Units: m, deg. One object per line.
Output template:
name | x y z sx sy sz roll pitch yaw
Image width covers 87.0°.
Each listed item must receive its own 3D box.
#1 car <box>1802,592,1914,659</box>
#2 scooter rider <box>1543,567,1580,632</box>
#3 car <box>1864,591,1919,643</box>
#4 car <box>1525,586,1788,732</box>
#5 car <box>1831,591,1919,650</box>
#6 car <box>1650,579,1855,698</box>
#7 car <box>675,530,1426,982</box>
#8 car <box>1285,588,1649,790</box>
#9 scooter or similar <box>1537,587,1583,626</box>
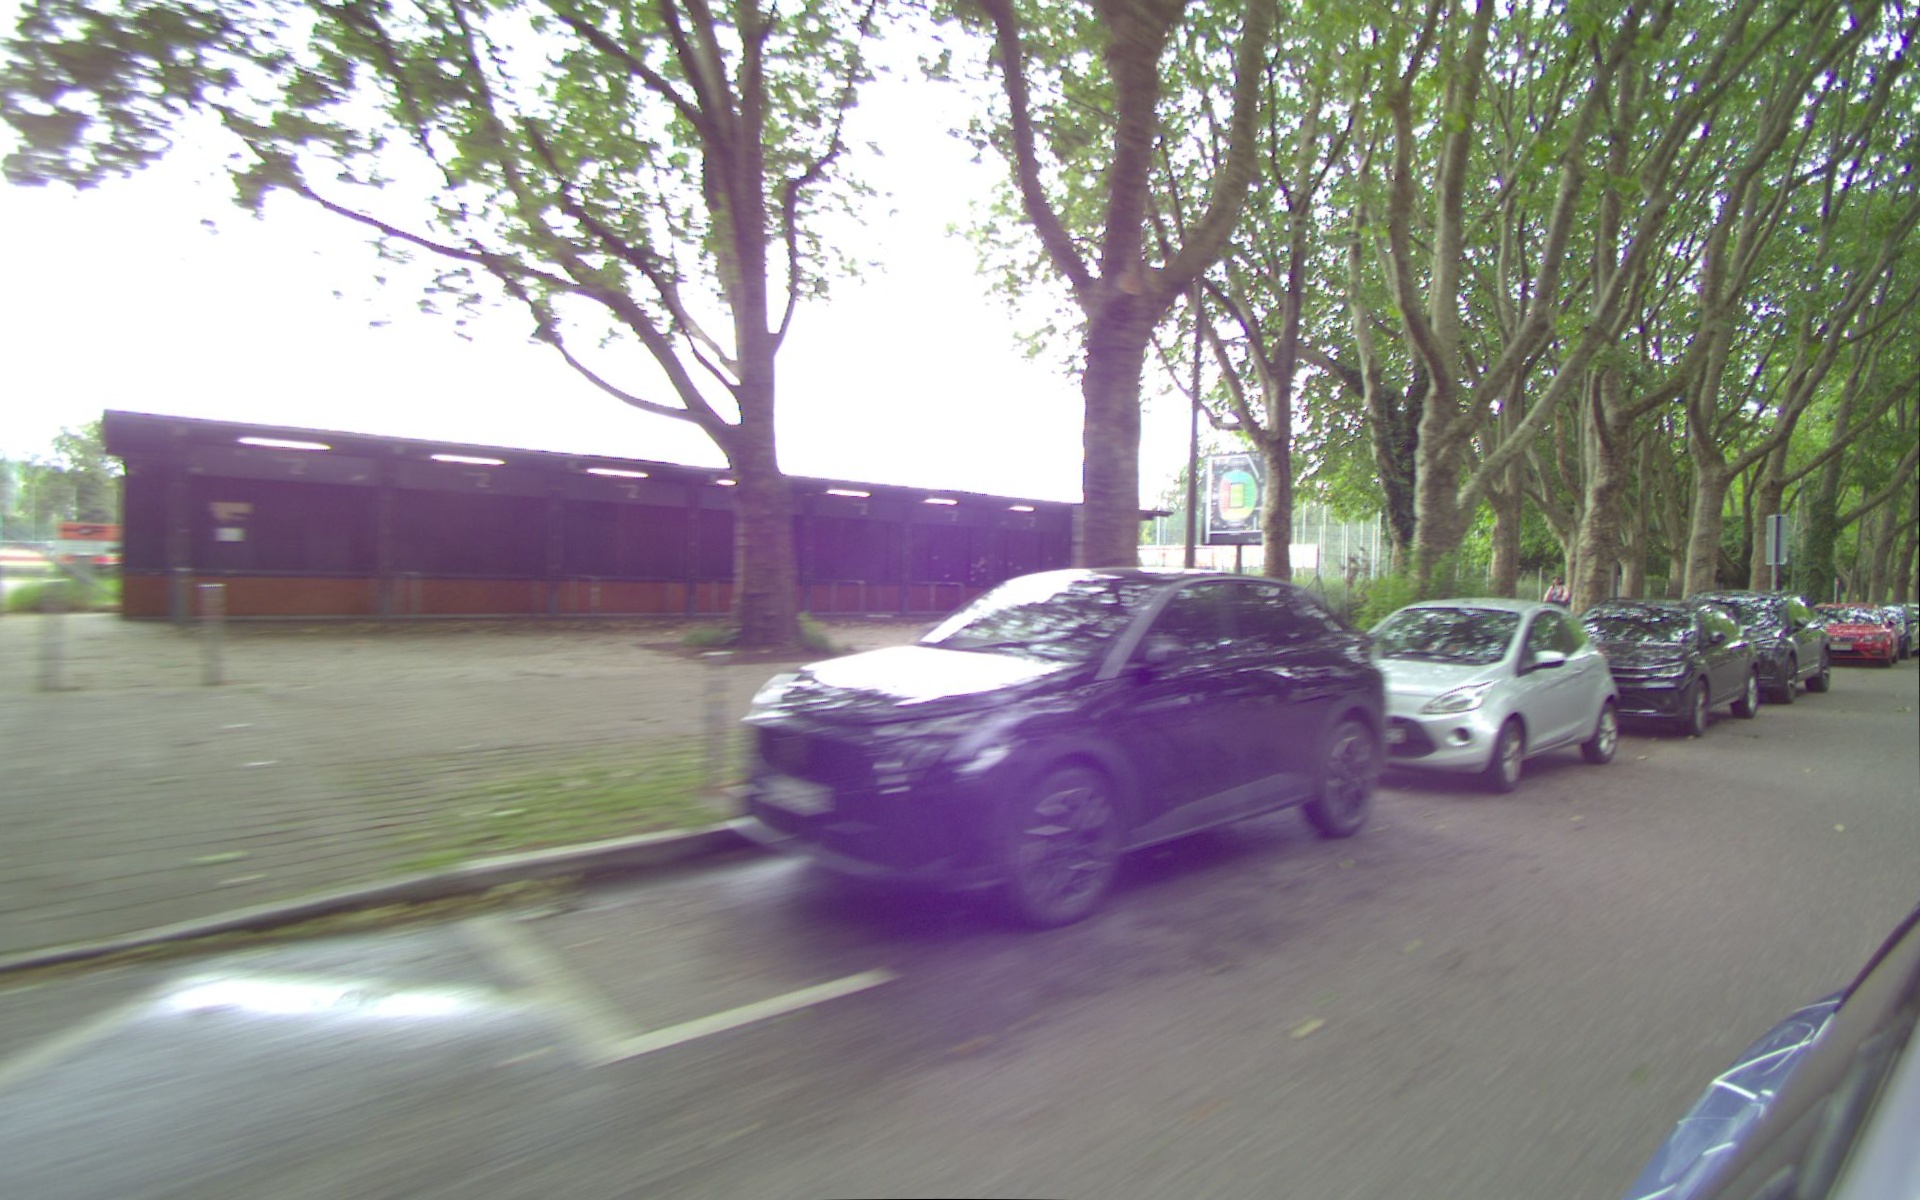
car | 21.504 0.555 24.167 4.553 1.457 1.717 0 0 -45
scooter rider | 17.525 -0.018 29.491 0.577 1.821 0.678 1 3 -40
car | 28.907 0.502 30.668 4.050 1.456 1.738 0 2 -41
car | 8.774 0.614 12.603 4.277 1.528 1.671 0 0 -41
car | 25.270 0.525 27.526 4.007 1.489 1.733 0 -1 -40
car | 12.664 0.523 16.074 4.361 1.640 1.759 0 0 -41
car | 0.847 0.551 5.983 4.557 1.694 1.780 0 2 -42
car | 4.657 0.643 9.109 3.644 1.460 1.619 0 0 -40
scooter or similar | 17.478 0.191 29.472 1.441 1.050 0.682 0 4 -41
